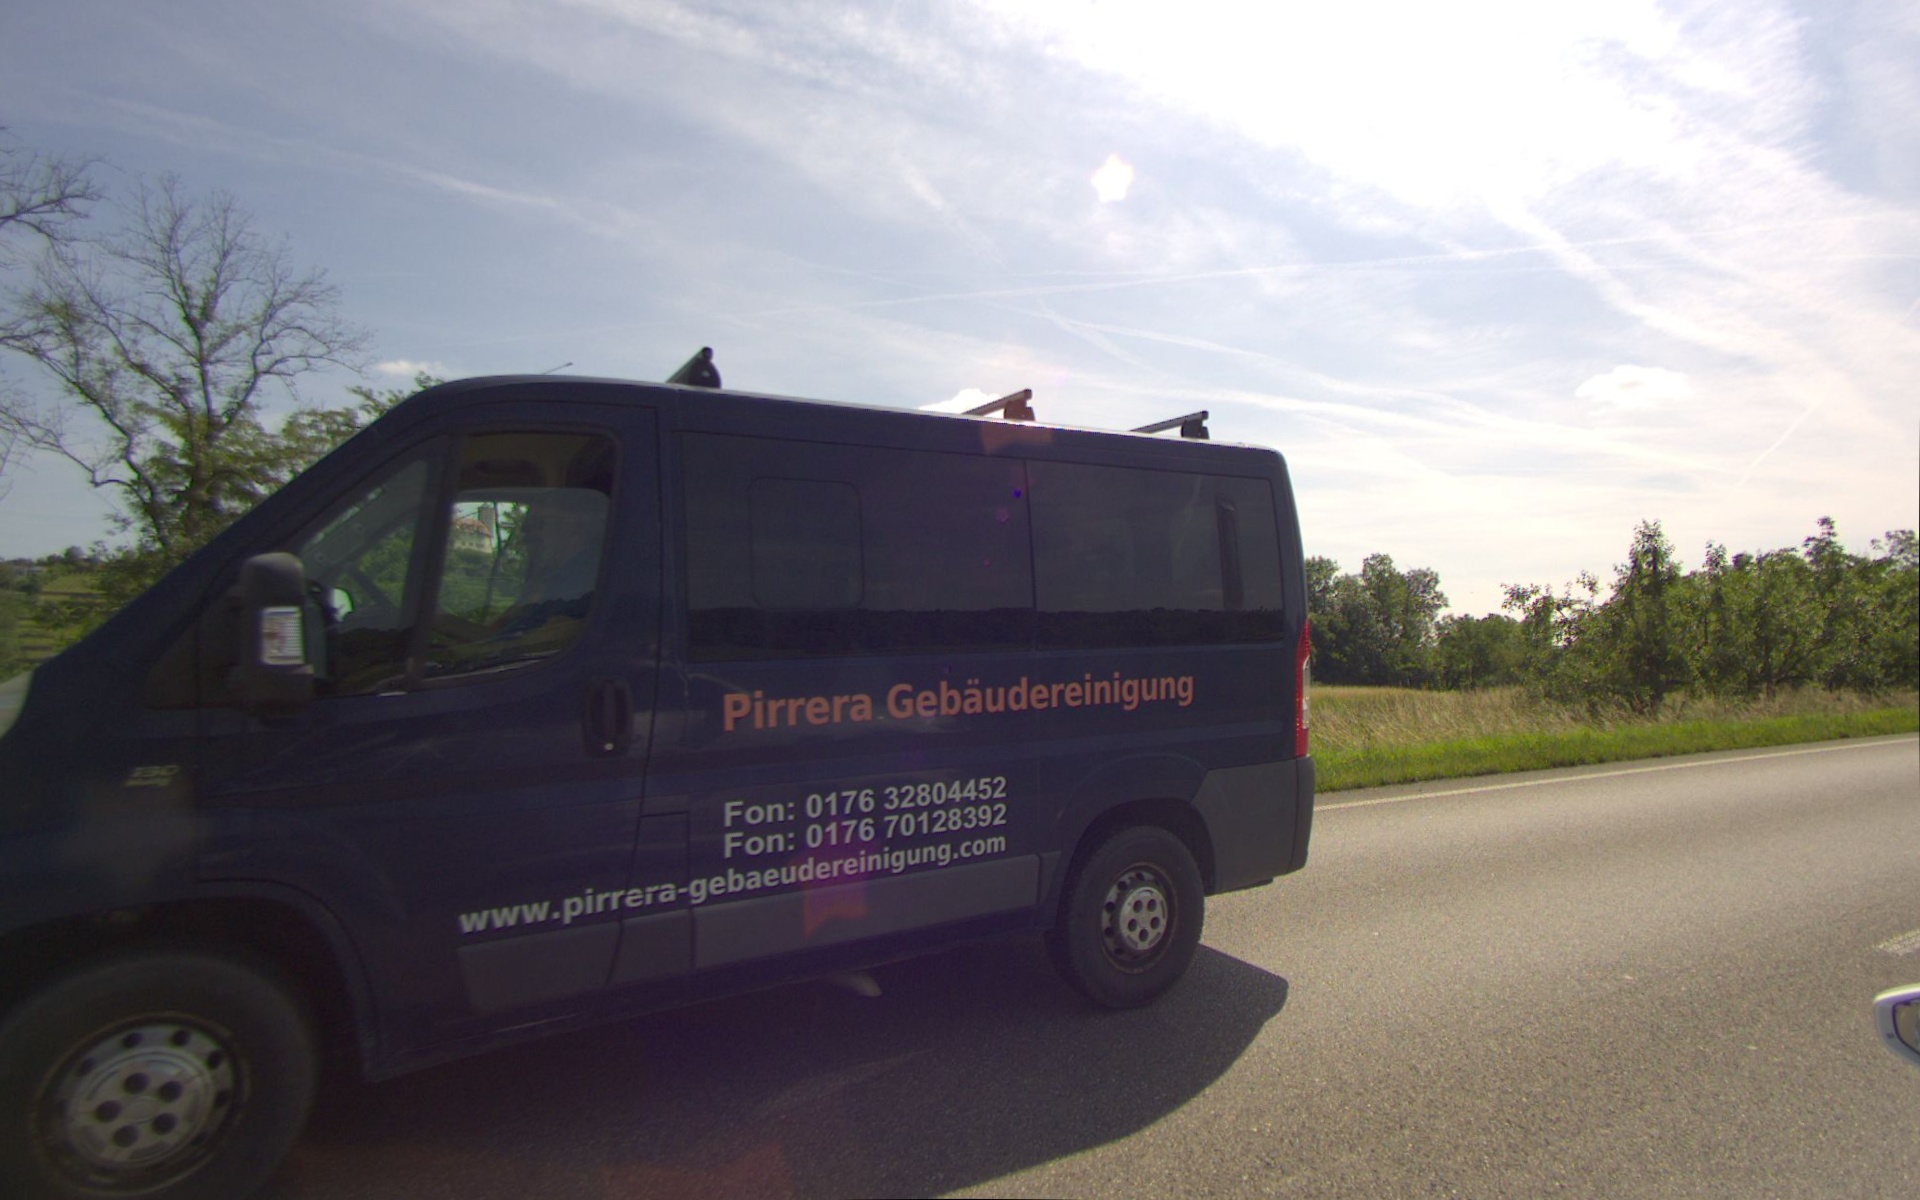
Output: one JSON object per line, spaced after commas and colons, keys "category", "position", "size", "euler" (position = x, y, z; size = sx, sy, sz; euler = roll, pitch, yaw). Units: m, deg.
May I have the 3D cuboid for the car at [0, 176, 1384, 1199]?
{"category": "car", "position": [-0.794, 0.339, 4.052], "size": [4.849, 2.334, 2.161], "euler": [1, -2, -30]}
